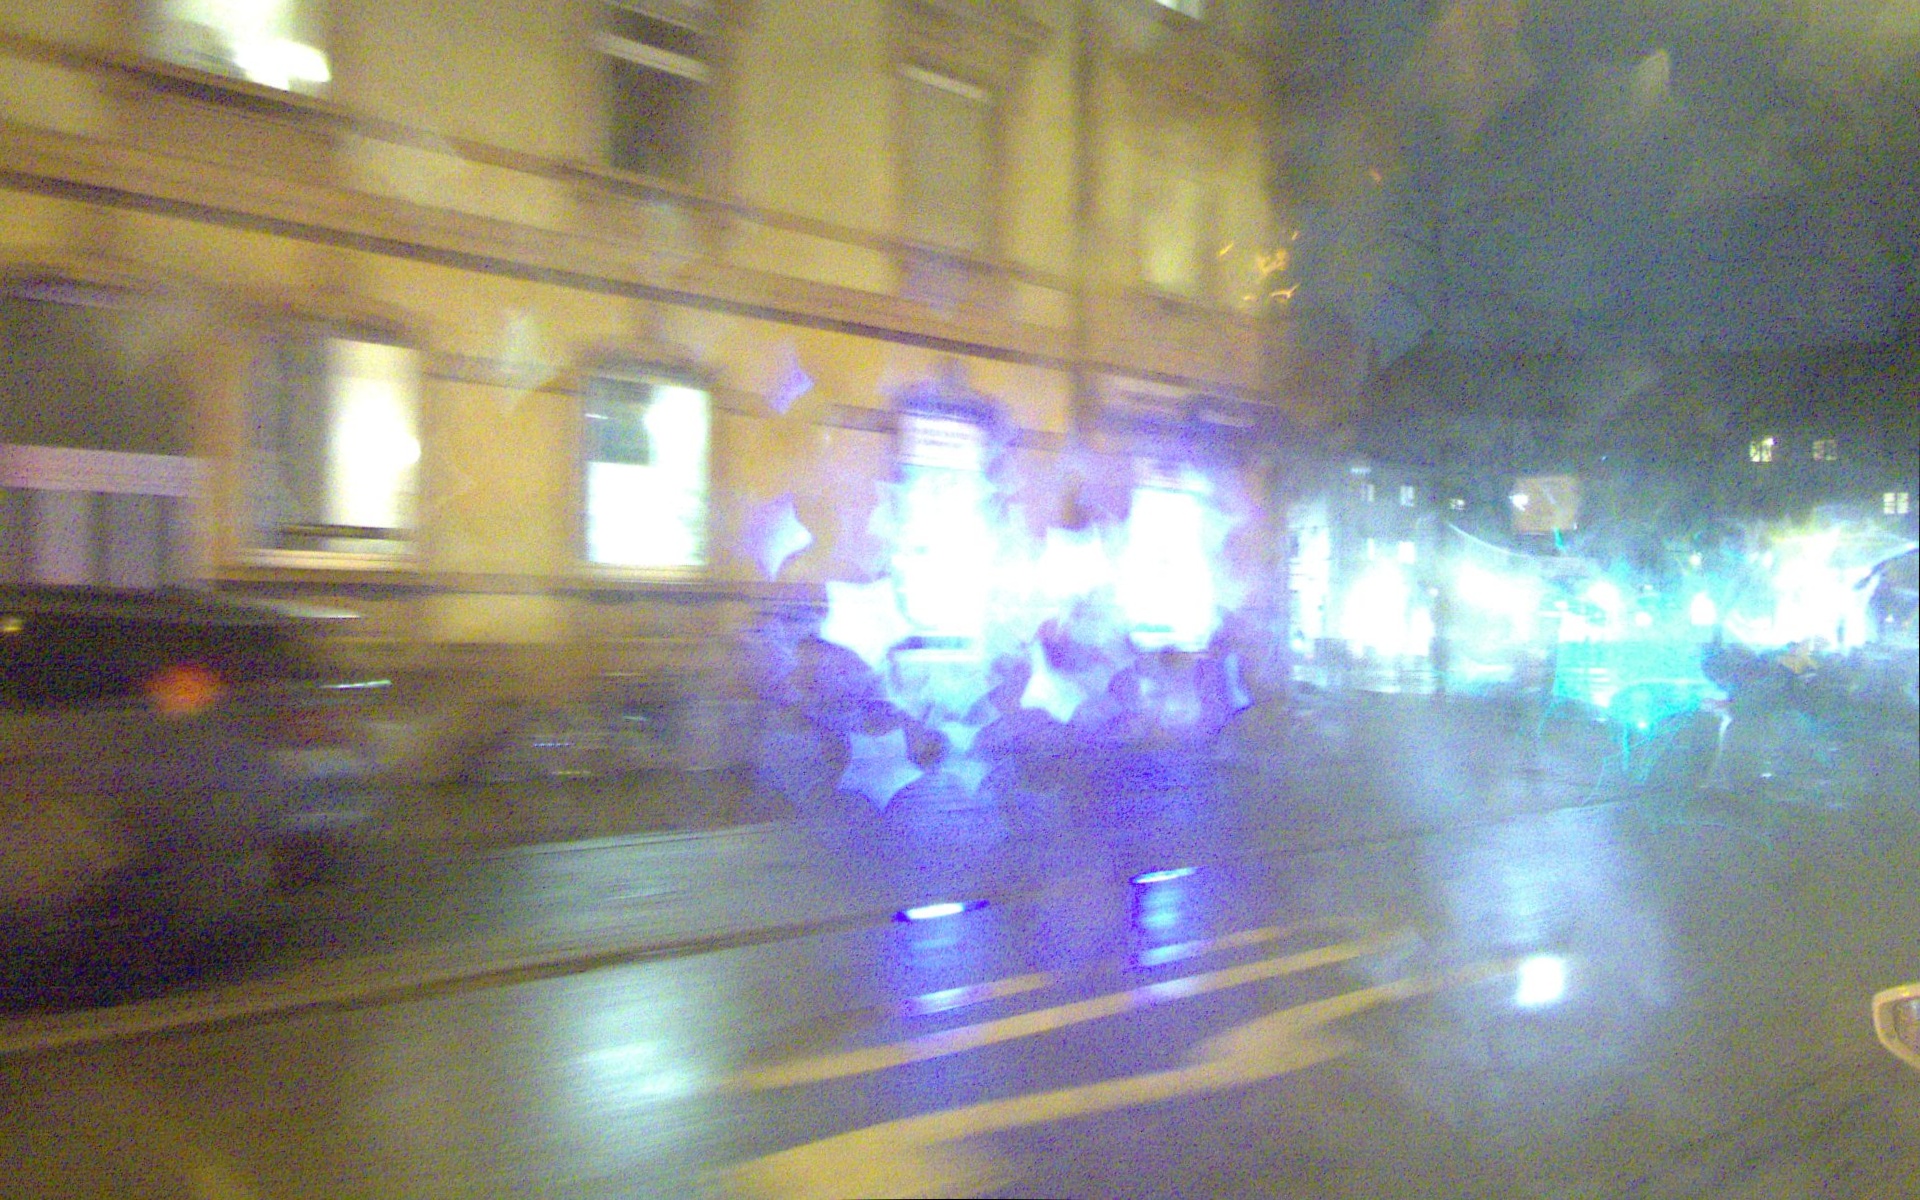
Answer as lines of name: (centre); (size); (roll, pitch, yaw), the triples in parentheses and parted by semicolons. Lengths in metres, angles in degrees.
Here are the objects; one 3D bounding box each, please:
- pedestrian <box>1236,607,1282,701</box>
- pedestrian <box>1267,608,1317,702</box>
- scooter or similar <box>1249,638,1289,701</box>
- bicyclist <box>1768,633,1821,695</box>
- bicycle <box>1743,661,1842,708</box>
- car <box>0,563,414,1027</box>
pedestrian: (6.105, 1.082, 20.569); (0.680, 1.845, 0.947); (2, 1, 6)
pedestrian: (6.828, 1.109, 20.703); (0.680, 1.845, 0.947); (2, 1, 2)
scooter or similar: (6.021, 1.344, 19.623); (0.560, 1.141, 0.933); (2, 1, 8)
bicyclist: (19.827, 1.507, 23.875); (0.880, 1.398, 0.503); (3, 1, 37)
bicycle: (19.772, 1.985, 23.904); (1.756, 0.944, 0.498); (3, 1, 37)
car: (-4.838, 0.719, 4.097); (4.540, 1.739, 1.824); (1, -1, -30)
